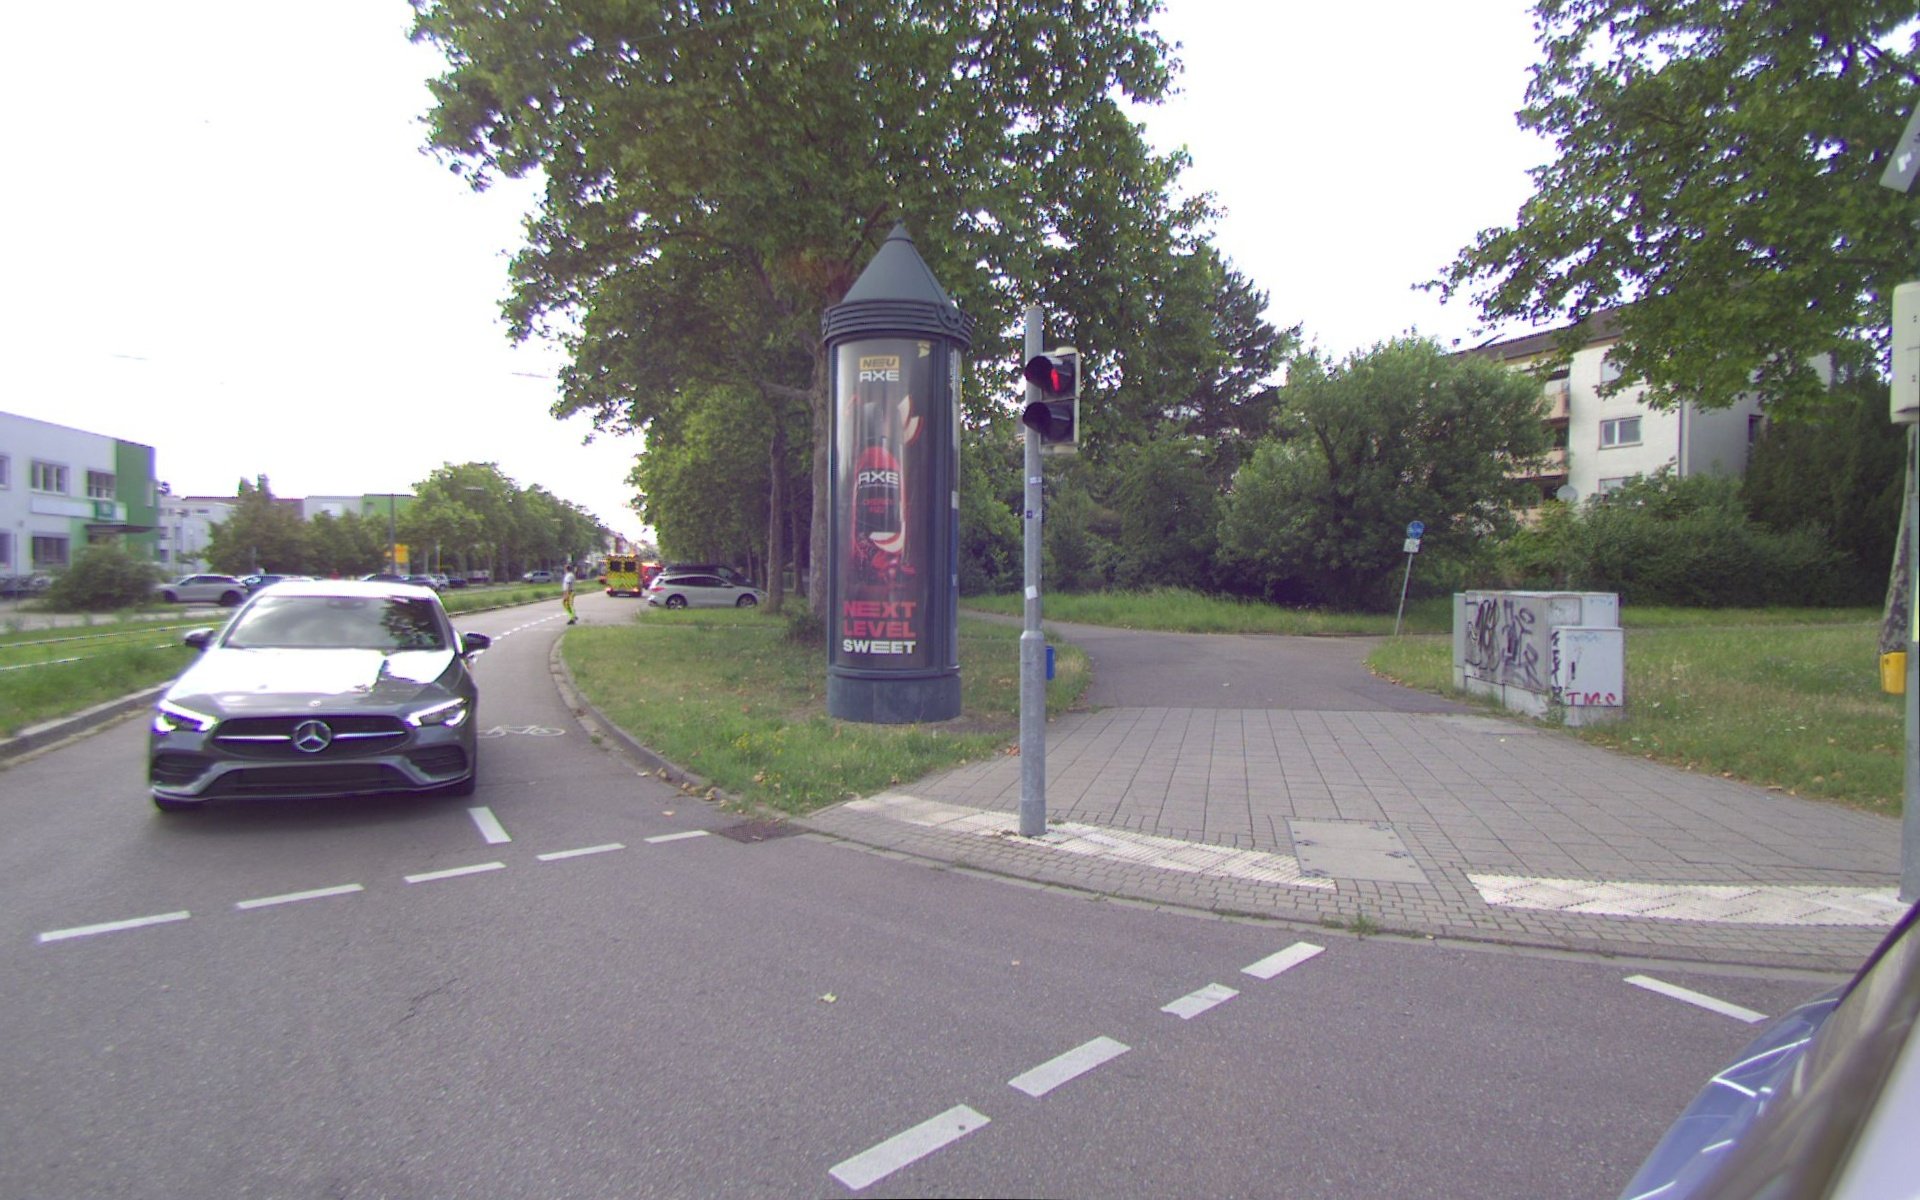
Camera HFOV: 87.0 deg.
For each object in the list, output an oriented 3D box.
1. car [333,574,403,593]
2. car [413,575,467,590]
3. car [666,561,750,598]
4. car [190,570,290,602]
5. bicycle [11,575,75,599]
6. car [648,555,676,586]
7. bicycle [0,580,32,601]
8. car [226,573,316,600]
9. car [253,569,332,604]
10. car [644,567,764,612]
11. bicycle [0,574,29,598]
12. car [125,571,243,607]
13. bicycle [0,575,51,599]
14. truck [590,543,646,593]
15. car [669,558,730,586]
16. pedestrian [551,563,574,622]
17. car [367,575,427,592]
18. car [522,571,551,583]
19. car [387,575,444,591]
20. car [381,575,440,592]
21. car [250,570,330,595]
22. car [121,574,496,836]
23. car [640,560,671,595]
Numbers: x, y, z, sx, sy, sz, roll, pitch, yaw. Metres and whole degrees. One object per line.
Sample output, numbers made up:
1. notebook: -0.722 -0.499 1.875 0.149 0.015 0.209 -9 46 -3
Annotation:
1. car: -43.887 -1.228 75.036 4.238 1.380 1.900 -1 2 -39
2. car: -48.611 -1.678 94.666 4.236 1.380 1.901 -1 2 -37
3. car: -14.093 -1.141 56.609 4.461 2.039 2.004 0 1 -14
4. car: -39.062 -0.766 54.946 4.243 1.649 1.898 0 1 -43
5. bicycle: -45.785 -0.647 50.558 2.369 1.180 0.750 0 1 -8
6. car: -34.444 -3.332 116.868 2.912 3.372 7.475 2 0 -16
7. bicycle: -45.894 -0.438 48.406 2.114 0.982 0.732 0 1 -11
8. car: -39.493 -0.784 58.046 4.099 1.522 1.857 0 1 -43
9. car: -33.240 -0.680 50.560 1.862 1.649 4.324 0 1 -12
10. car: -10.001 -0.414 39.521 4.447 1.665 2.004 0 0 -17
11. bicycle: -43.927 -0.625 46.324 1.759 1.095 0.738 0 1 -17
12. car: -37.558 -0.572 49.052 1.895 1.649 4.250 1 2 42
13. bicycle: -45.907 -0.646 49.343 2.303 1.180 0.762 0 1 -9
14. truck: -24.279 -2.250 72.159 3.127 3.358 7.540 0 2 -14
15. car: -33.743 -3.573 131.160 7.302 3.372 2.981 2 0 -20
16. pedestrian: -11.678 -0.216 29.761 0.575 1.705 0.495 0 0 -16
17. car: -47.176 -1.403 84.827 4.236 1.380 1.901 -1 2 -37
18. car: -67.333 -3.651 160.915 1.816 1.861 3.937 2 0 43
19. car: -48.693 -1.498 90.552 4.236 1.380 1.901 -1 2 -37
20. car: -47.811 -1.451 88.102 4.236 1.380 1.901 -1 2 -37
21. car: -42.100 -1.105 63.653 4.093 1.522 1.860 0 1 -37
22. car: -4.811 0.548 7.956 1.803 1.411 4.613 2 0 -28
23. car: -31.422 -2.315 104.559 2.912 3.359 7.475 2 0 -16
